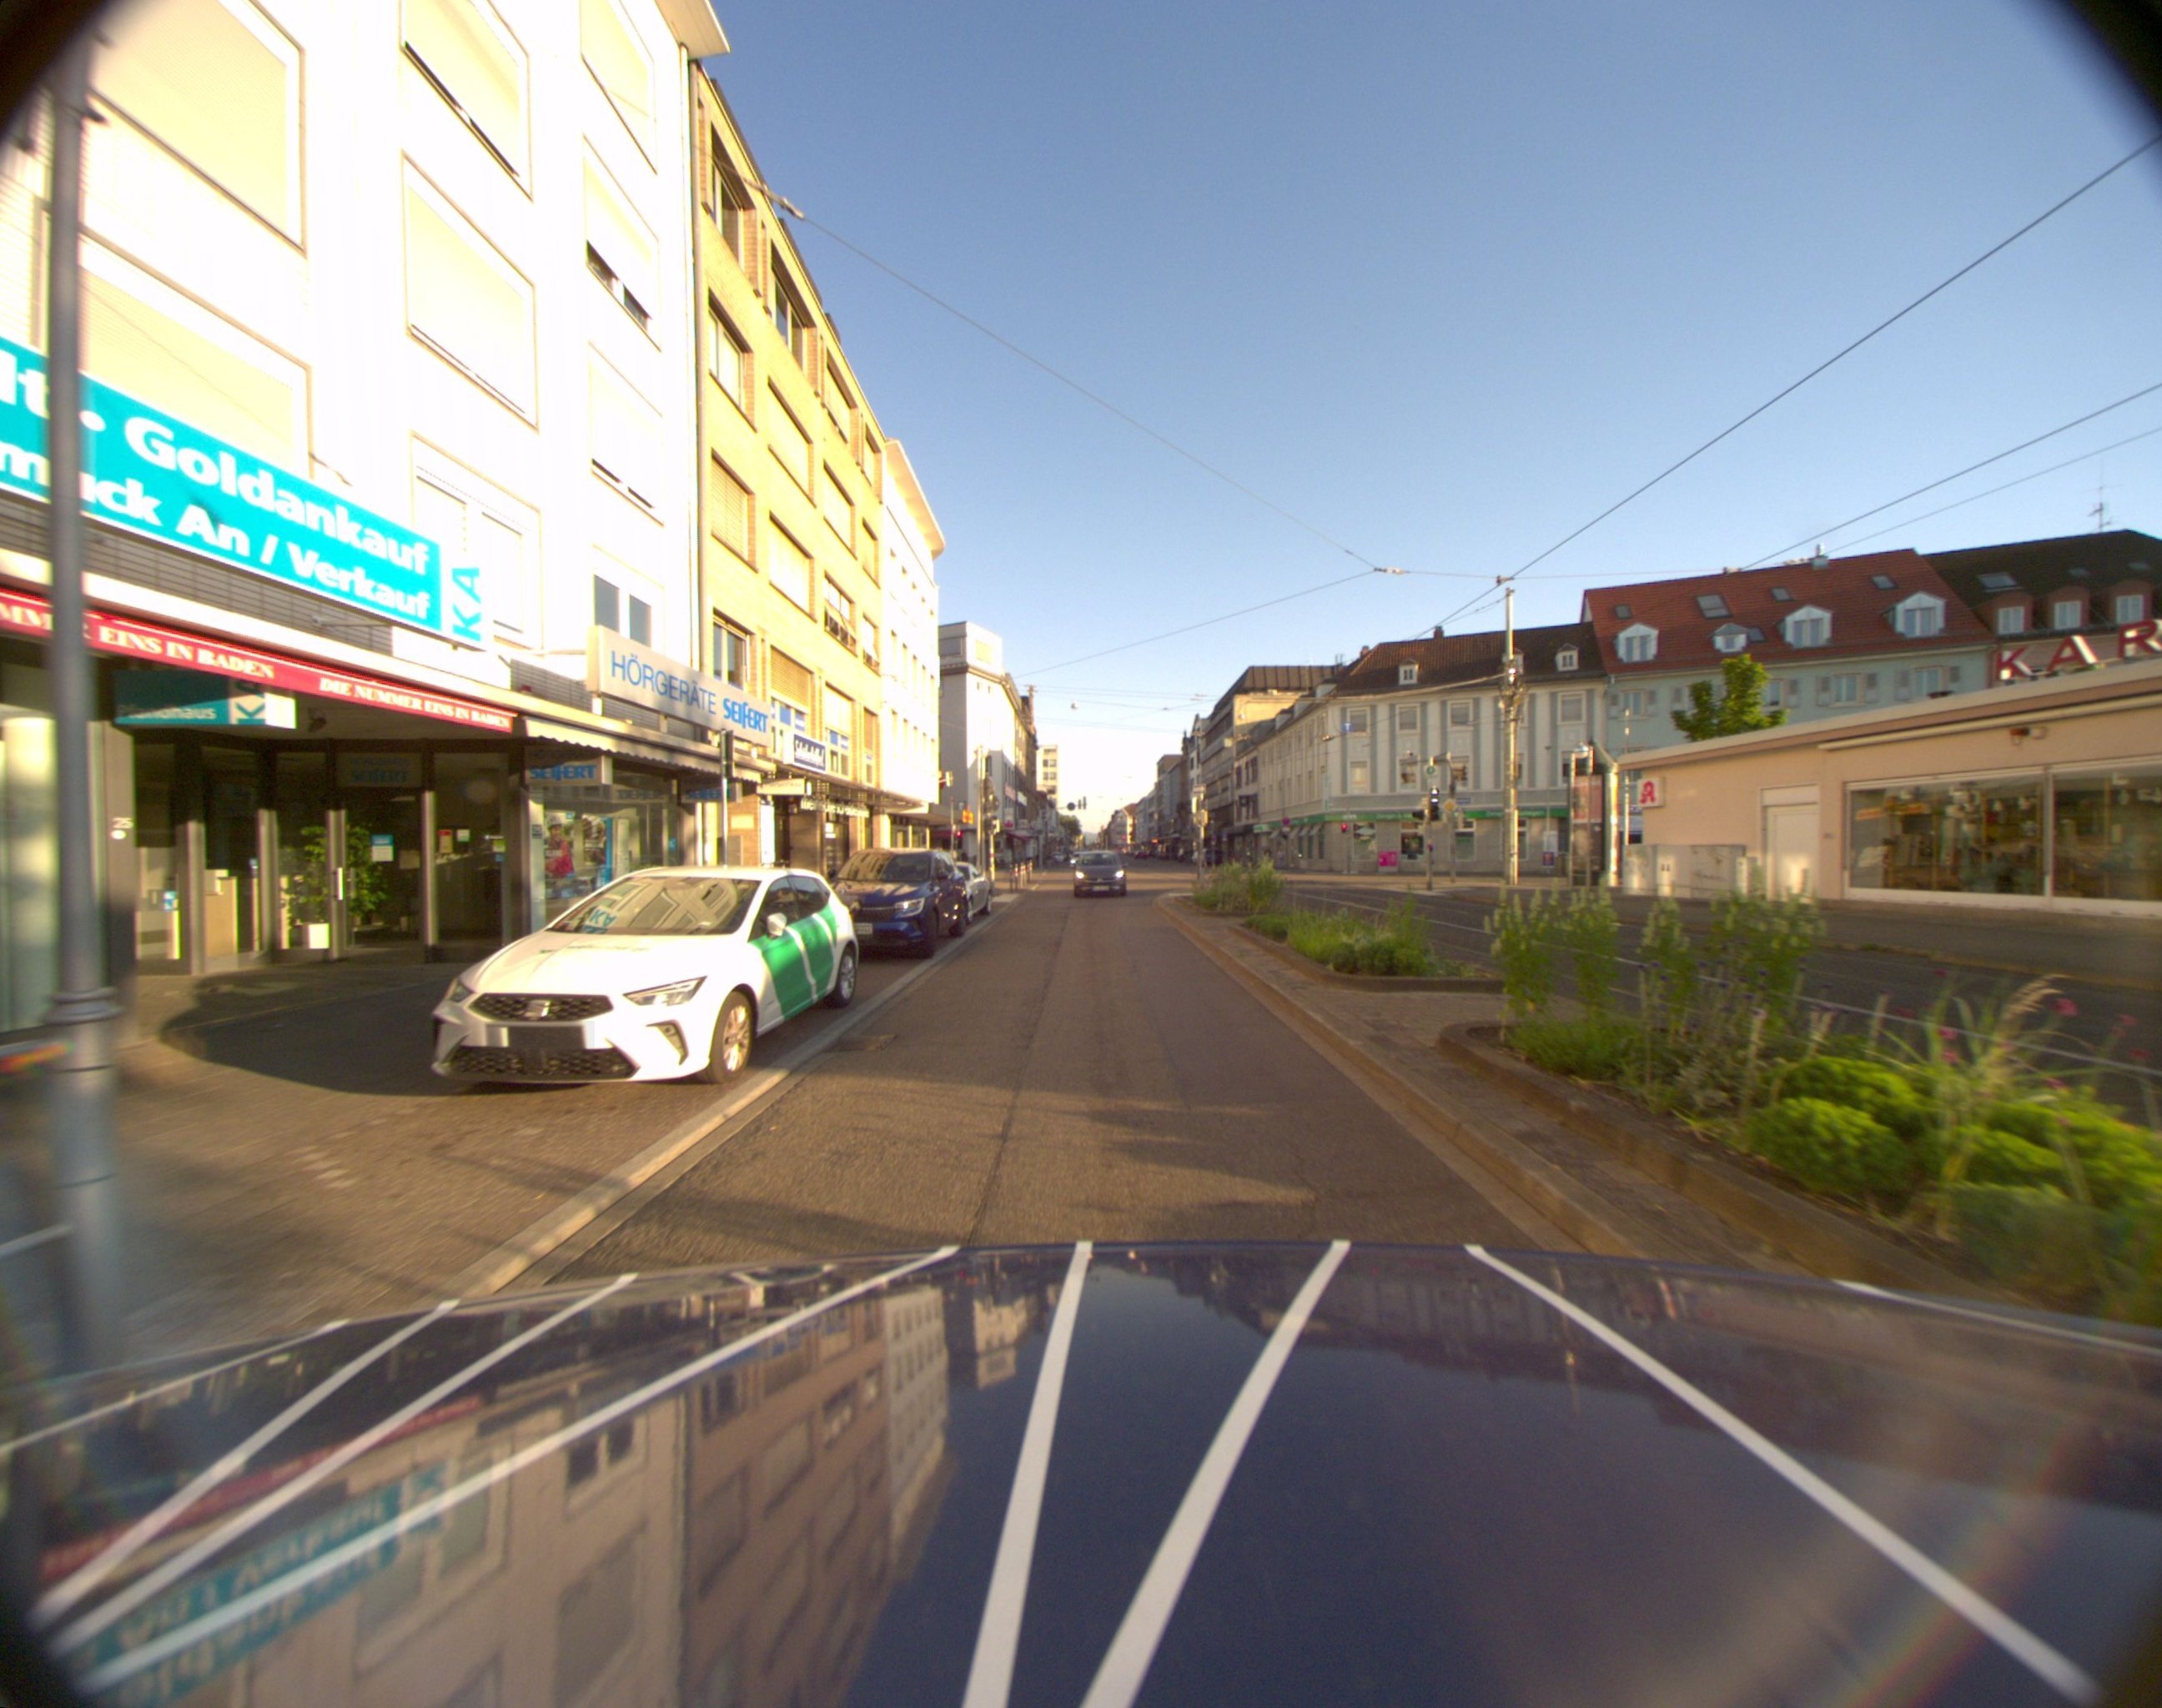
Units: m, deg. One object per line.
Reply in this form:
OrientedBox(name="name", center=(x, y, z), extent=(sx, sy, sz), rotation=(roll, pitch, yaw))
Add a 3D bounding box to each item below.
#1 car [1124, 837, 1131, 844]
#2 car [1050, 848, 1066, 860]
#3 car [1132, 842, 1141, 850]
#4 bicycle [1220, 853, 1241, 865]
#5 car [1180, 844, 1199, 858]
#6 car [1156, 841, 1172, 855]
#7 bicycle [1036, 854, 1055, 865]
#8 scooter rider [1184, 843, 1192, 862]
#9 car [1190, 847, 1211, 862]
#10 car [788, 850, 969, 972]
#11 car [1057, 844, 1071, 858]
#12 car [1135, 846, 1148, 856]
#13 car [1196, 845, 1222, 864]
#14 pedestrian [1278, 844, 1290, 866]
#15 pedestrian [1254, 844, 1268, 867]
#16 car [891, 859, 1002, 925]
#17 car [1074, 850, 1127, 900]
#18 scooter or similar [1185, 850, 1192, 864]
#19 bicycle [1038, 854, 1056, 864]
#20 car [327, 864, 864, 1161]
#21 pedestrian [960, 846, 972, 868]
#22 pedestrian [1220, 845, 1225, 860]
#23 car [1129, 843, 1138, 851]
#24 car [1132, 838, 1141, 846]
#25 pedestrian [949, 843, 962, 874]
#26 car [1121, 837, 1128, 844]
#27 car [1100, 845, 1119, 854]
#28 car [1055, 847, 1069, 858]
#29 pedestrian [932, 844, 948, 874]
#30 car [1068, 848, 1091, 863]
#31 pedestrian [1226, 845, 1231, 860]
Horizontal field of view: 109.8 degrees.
OrientedBox(name="car", center=(14.652, -4.274, 240.711), extent=(1.999, 2.003, 3.997), rotation=(0, 2, -2))
OrientedBox(name="car", center=(-3.001, -0.063, 100.113), extent=(2.041, 1.550, 4.386), rotation=(0, 1, 0))
OrientedBox(name="car", center=(14.186, -2.014, 193.711), extent=(1.974, 2.003, 3.997), rotation=(0, 2, -2))
OrientedBox(name="bicycle", center=(12.882, 0.417, 65.340), extent=(1.740, 1.052, 0.499), rotation=(0, 0, 9))
OrientedBox(name="car", center=(13.630, -0.365, 95.715), extent=(1.819, 1.548, 3.998), rotation=(0, 2, 1))
OrientedBox(name="car", center=(12.896, -0.943, 118.120), extent=(1.998, 2.003, 3.998), rotation=(0, 2, 1))
OrientedBox(name="bicycle", center=(-3.445, 0.532, 74.327), extent=(1.829, 1.025, 0.443), rotation=(1, 1, -5))
OrientedBox(name="scooter rider", center=(10.646, -0.162, 75.499), extent=(0.813, 1.797, 0.788), rotation=(0, 1, 5))
OrientedBox(name="car", center=(13.211, 0.072, 84.108), extent=(1.701, 1.614, 3.999), rotation=(-1, 1, 0))
OrientedBox(name="car", center=(-3.026, 0.749, 12.322), extent=(1.769, 1.596, 4.287), rotation=(0, 1, 0))
OrientedBox(name="car", center=(-2.635, -0.433, 117.127), extent=(2.041, 2.105, 4.386), rotation=(0, 1, 0))
OrientedBox(name="car", center=(10.221, -0.533, 128.328), extent=(1.895, 1.471, 4.544), rotation=(2, -1, 1))
OrientedBox(name="car", center=(13.146, 0.010, 77.983), extent=(1.915, 1.785, 4.128), rotation=(-2, 1, 0))
OrientedBox(name="pedestrian", center=(15.238, 0.096, 57.046), extent=(0.826, 1.631, 0.814), rotation=(-1, 1, 17))
OrientedBox(name="pedestrian", center=(13.772, 0.118, 58.016), extent=(0.827, 1.718, 0.813), rotation=(-2, 1, 0))
OrientedBox(name="car", center=(-3.036, 0.803, 17.958), extent=(1.677, 1.275, 4.063), rotation=(0, 1, 3))
OrientedBox(name="car", center=(0.592, 0.612, 24.541), extent=(1.587, 1.445, 3.842), rotation=(0, 1, 0))
OrientedBox(name="scooter or similar", center=(10.656, 0.253, 75.322), extent=(0.545, 1.343, 1.669), rotation=(-1, 1, 4))
OrientedBox(name="bicycle", center=(-3.417, 0.527, 75.745), extent=(1.762, 0.944, 0.443), rotation=(1, 3, -6))
OrientedBox(name="car", center=(-3.217, 0.894, 6.214), extent=(1.735, 1.427, 4.150), rotation=(0, 2, -1))
OrientedBox(name="pedestrian", center=(-8.789, 0.217, 57.982), extent=(0.799, 1.646, 0.586), rotation=(0, 1, -3))
OrientedBox(name="pedestrian", center=(15.593, -0.141, 83.798), extent=(0.509, 1.675, 0.583), rotation=(-1, 3, 0))
OrientedBox(name="car", center=(14.357, -1.901, 207.048), extent=(1.960, 2.003, 3.997), rotation=(0, 2, -2))
OrientedBox(name="car", center=(14.587, -3.175, 199.784), extent=(1.975, 2.181, 4.132), rotation=(0, 3, 0))
OrientedBox(name="pedestrian", center=(-7.267, 0.262, 44.018), extent=(0.749, 1.763, 0.586), rotation=(0, 1, -7))
OrientedBox(name="car", center=(14.197, -4.471, 246.761), extent=(1.999, 2.003, 3.997), rotation=(0, 2, -2))
OrientedBox(name="car", center=(5.895, -0.875, 156.306), extent=(3.835, 1.739, 1.806), rotation=(0, 3, -2))
OrientedBox(name="car", center=(-2.779, -0.216, 111.902), extent=(2.041, 1.550, 4.386), rotation=(0, 1, 0))
OrientedBox(name="pedestrian", center=(-8.240, 0.285, 44.304), extent=(0.749, 1.763, 0.639), rotation=(-1, 1, 4))
OrientedBox(name="car", center=(-0.111, 0.130, 70.960), extent=(1.914, 1.350, 3.746), rotation=(-2, 0, 4))
OrientedBox(name="pedestrian", center=(16.262, -0.173, 83.821), extent=(0.515, 1.725, 0.600), rotation=(0, 3, 0))
